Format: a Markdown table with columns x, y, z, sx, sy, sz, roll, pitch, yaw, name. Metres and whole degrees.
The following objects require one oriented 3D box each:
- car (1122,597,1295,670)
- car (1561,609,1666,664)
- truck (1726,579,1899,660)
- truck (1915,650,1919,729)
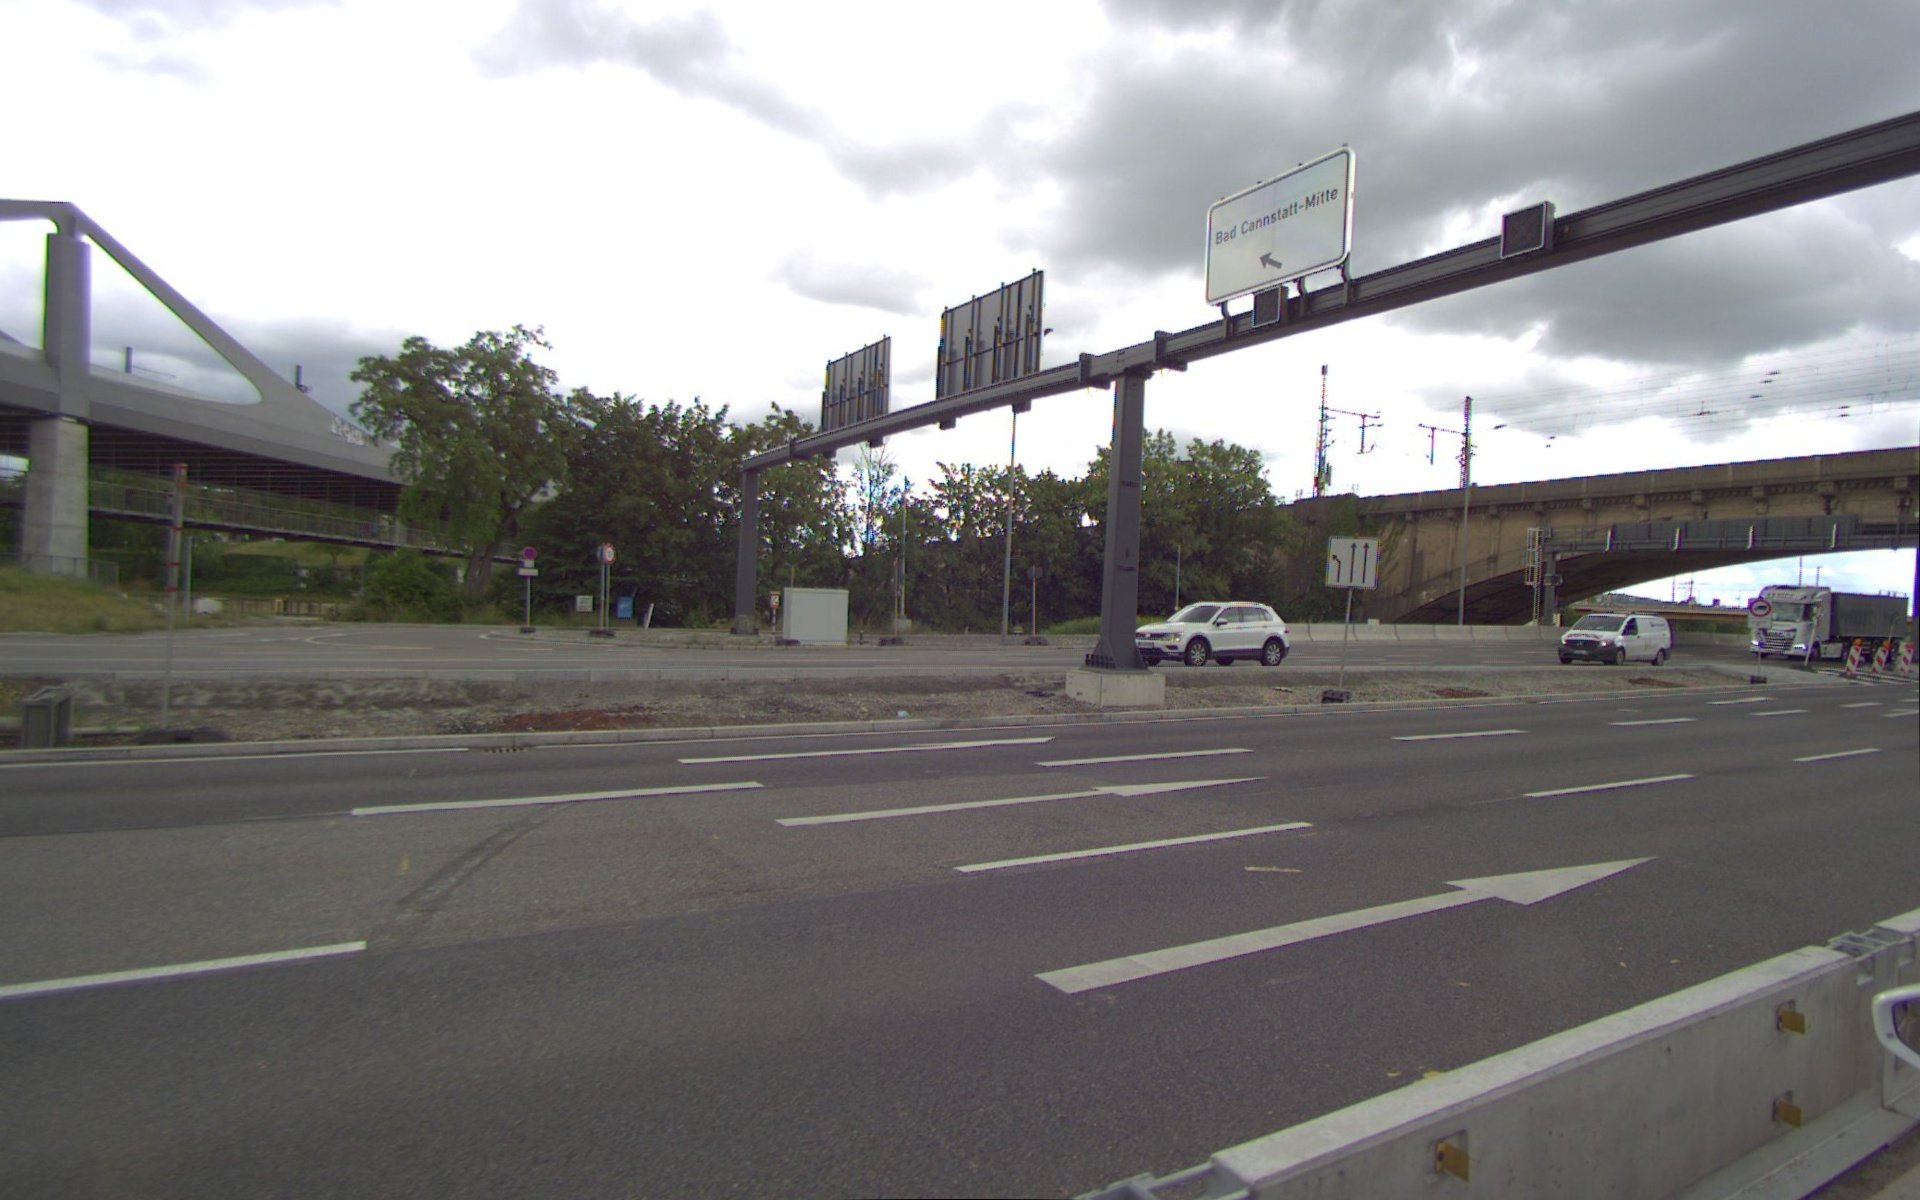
| x | y | z | sx | sy | sz | roll | pitch | yaw | name |
| --- | --- | --- | --- | --- | --- | --- | --- | --- | --- |
| 6.290 | 0.832 | 25.297 | 4.241 | 1.684 | 1.790 | 2 | 0 | -32 | car |
| 23.568 | 1.305 | 36.205 | 3.762 | 1.831 | 1.814 | 2 | 0 | -34 | car |
| 47.960 | 1.148 | 56.274 | 13.823 | 4.116 | 2.885 | 2 | 0 | -30 | truck |
| 21.067 | 0.343 | 18.490 | 10.097 | 4.071 | 2.899 | 2 | 1 | -35 | truck |
